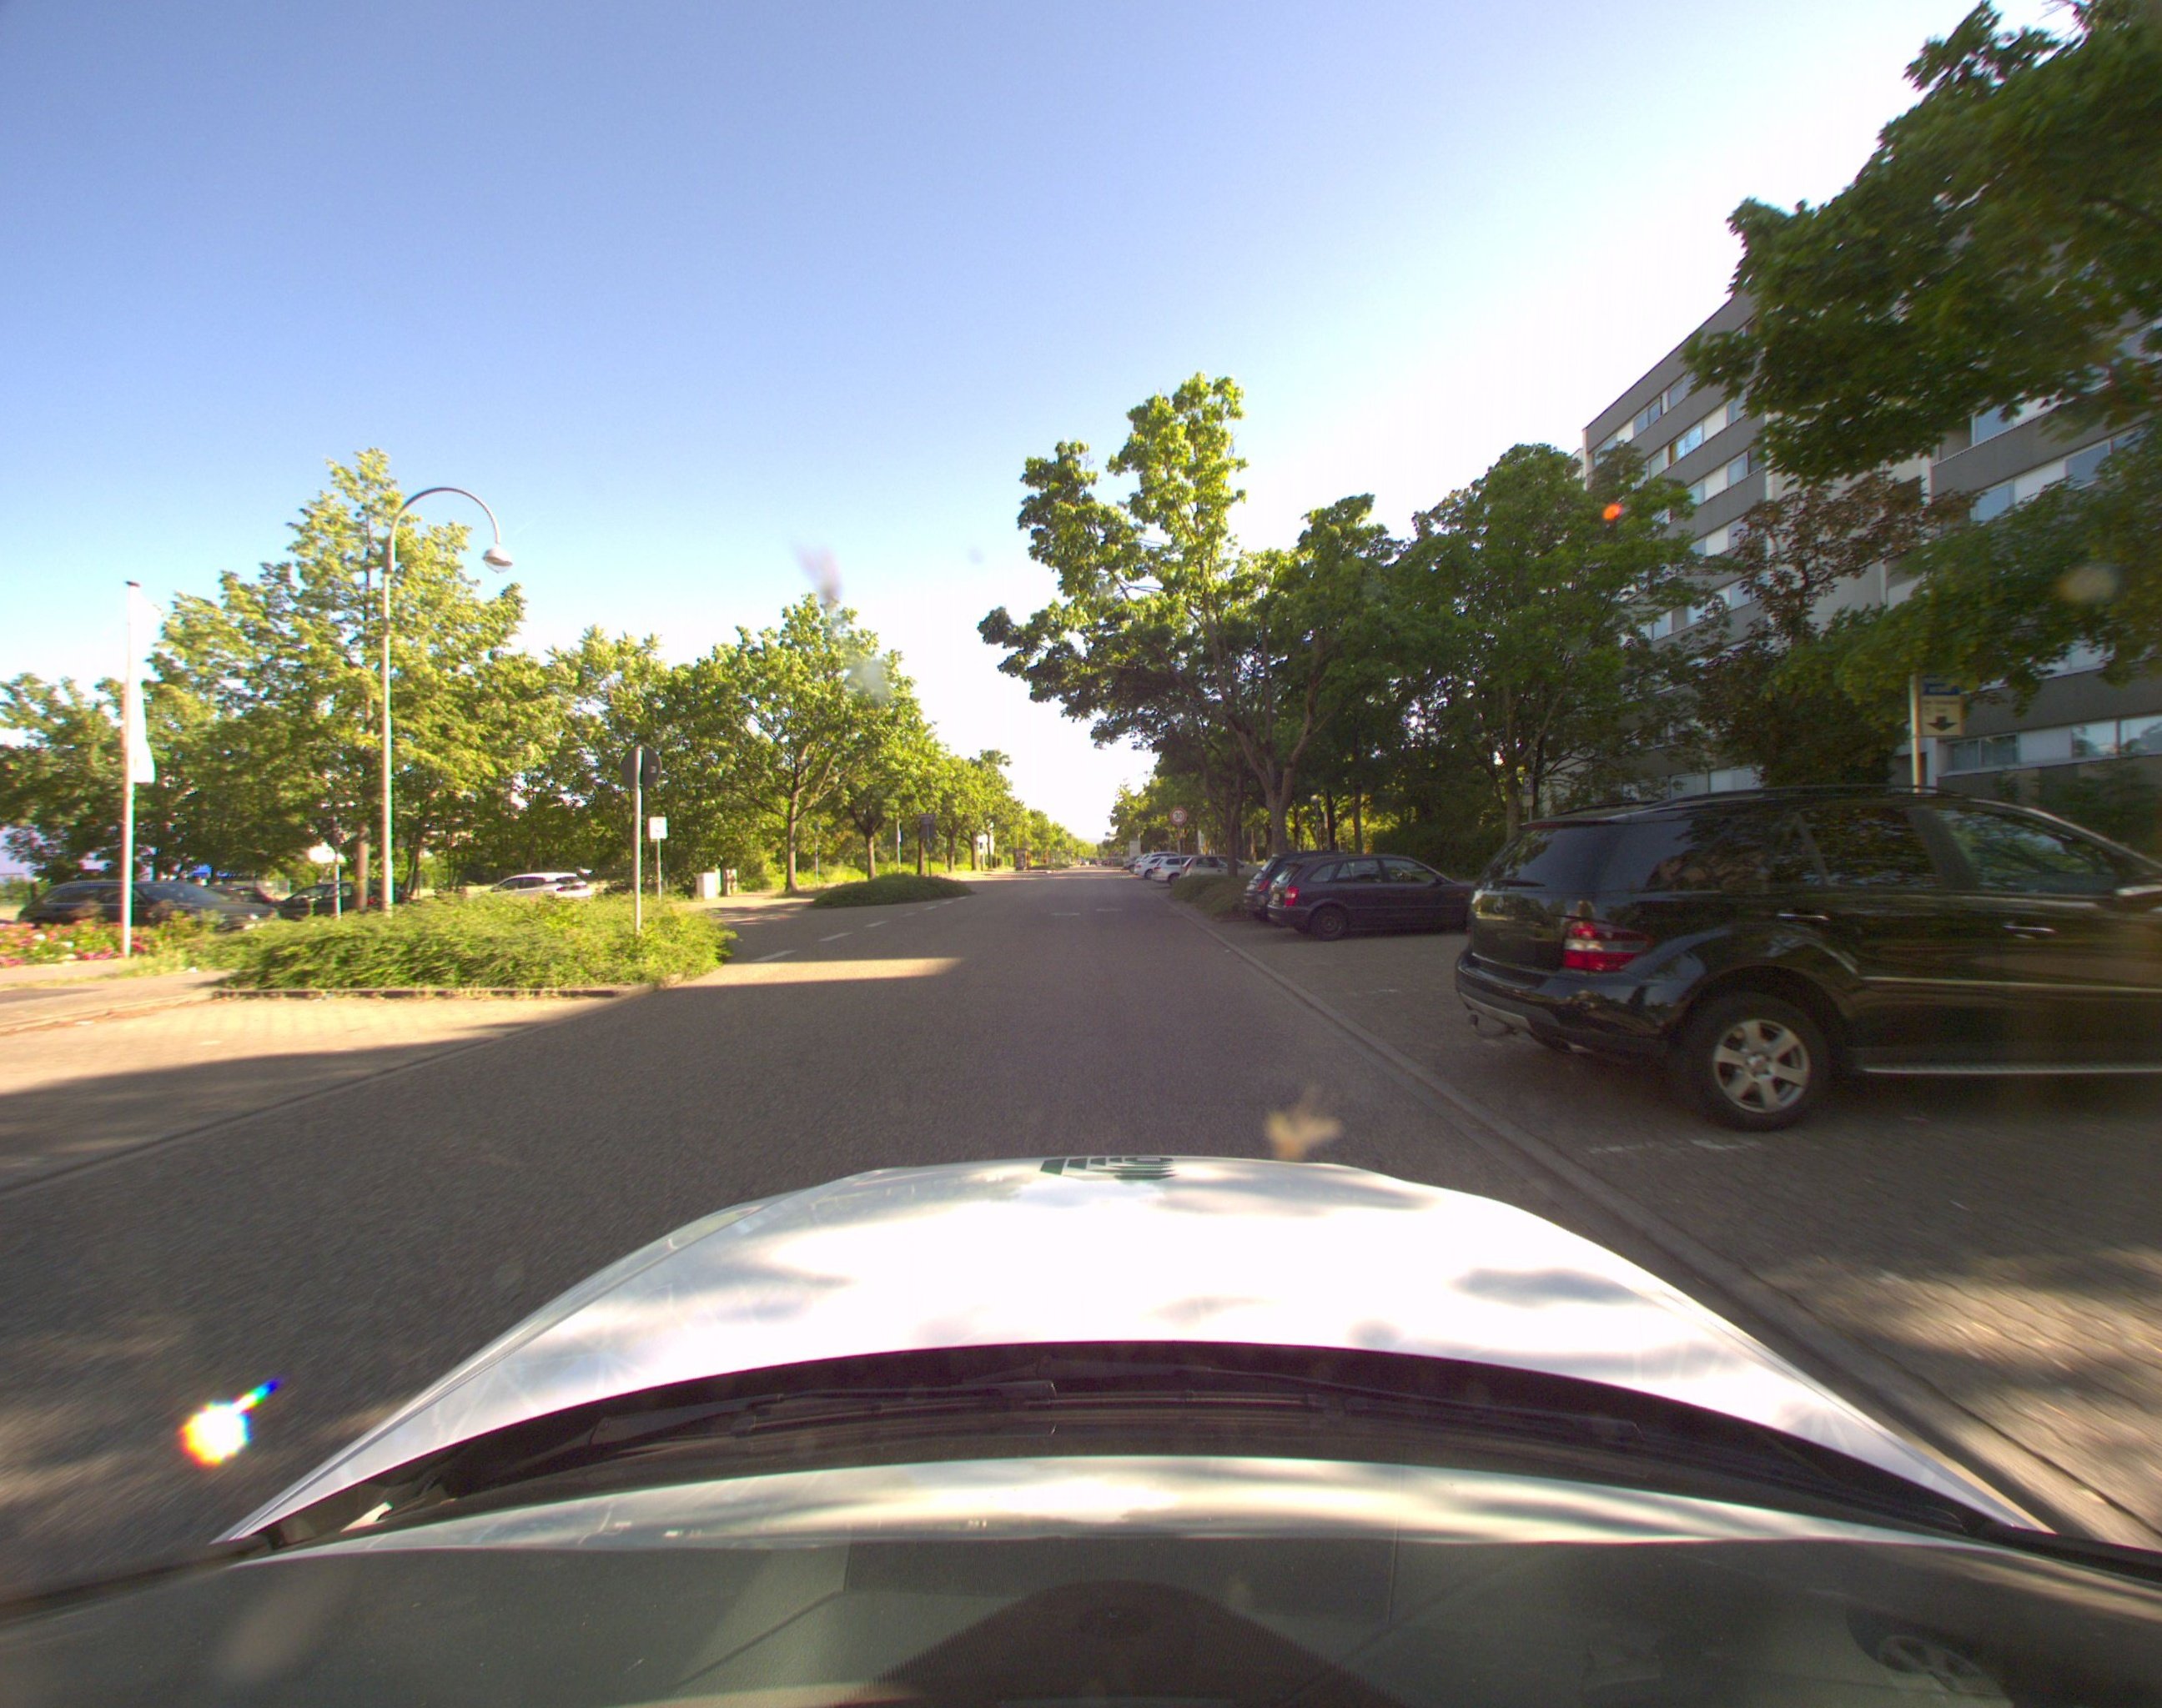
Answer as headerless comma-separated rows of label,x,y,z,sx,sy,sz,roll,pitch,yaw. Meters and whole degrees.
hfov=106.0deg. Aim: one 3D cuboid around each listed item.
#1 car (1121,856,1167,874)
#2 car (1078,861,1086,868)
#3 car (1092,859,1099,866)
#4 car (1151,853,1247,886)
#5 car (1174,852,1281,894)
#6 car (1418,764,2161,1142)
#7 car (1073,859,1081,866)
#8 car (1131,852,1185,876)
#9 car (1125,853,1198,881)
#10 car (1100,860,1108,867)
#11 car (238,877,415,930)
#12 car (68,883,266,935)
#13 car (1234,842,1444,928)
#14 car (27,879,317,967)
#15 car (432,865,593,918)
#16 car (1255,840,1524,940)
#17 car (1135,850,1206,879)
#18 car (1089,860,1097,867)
car,5.823,1.028,75.801,4.150,1.428,2.000,-4,-1,0
car,0.179,2.654,205.098,1.821,1.775,3.741,0,0,2
car,4.489,2.621,247.365,1.986,2.014,4.001,0,-1,2
car,5.384,0.714,37.504,4.253,1.428,1.830,-1,-1,5
car,5.838,0.738,32.700,3.973,1.451,1.717,-3,0,1
car,4.833,0.476,5.109,4.570,1.779,2.000,-3,-1,1
car,-1.138,2.460,231.254,1.986,1.802,4.001,0,0,2
car,5.523,0.730,58.947,3.678,1.522,1.650,-3,0,-1
car,5.037,0.828,51.439,4.330,1.489,1.737,-3,-1,-1
car,6.483,2.629,228.936,1.986,2.014,4.001,0,-1,1
car,-24.552,1.586,26.610,4.041,1.472,1.831,-2,-1,1
car,-29.601,1.754,26.469,4.411,1.437,1.681,-2,-1,-1
car,5.316,0.611,17.073,3.799,1.499,1.700,-3,0,-2
car,-19.842,1.479,17.912,4.307,1.619,1.894,-2,-1,2
car,-18.356,1.200,26.403,4.061,1.451,1.626,-3,-1,2
car,5.264,0.588,14.291,3.973,1.387,1.822,-4,0,1
car,5.922,0.674,54.132,4.422,1.647,1.815,-4,0,-1
car,3.390,2.717,229.608,1.986,2.014,4.001,0,-1,2
